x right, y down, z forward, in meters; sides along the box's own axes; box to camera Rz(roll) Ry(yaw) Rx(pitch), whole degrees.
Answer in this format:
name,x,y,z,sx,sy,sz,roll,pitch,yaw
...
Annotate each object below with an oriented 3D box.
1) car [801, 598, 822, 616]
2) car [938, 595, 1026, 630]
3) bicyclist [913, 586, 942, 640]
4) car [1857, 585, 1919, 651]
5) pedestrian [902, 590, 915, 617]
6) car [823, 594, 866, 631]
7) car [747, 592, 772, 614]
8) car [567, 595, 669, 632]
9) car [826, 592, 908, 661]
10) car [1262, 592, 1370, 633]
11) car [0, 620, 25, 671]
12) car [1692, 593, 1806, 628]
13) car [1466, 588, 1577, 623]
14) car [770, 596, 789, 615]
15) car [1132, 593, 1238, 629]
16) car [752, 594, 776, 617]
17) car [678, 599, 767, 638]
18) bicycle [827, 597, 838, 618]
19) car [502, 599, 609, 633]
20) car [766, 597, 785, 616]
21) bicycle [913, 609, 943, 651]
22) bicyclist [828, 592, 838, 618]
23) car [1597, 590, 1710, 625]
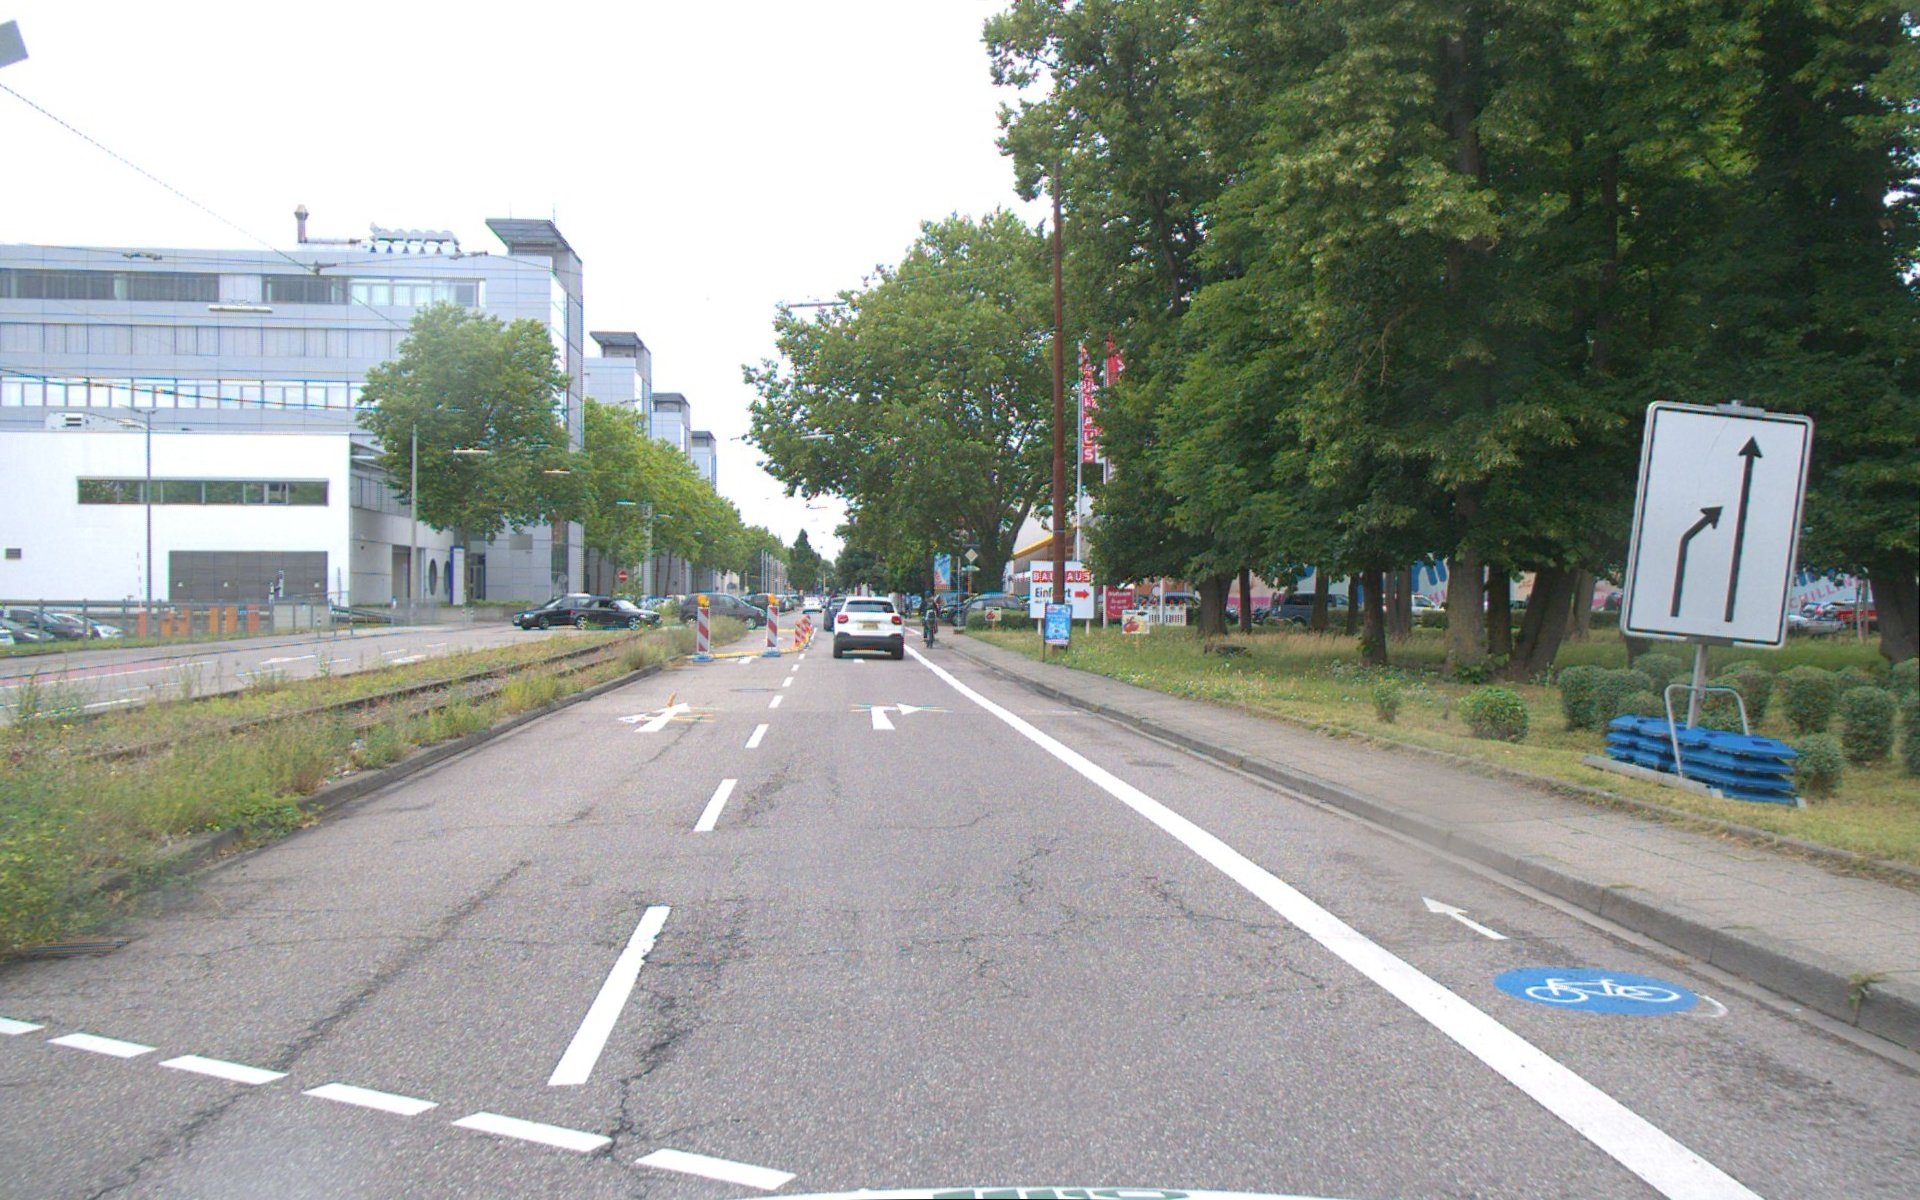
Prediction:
name,x,y,z,sx,sy,sz,roll,pitch,yaw
car,-13.775,0.632,153.145,1.761,1.540,3.700,1,0,-7
car,1.088,0.602,82.175,4.229,1.706,1.991,0,0,-4
bicyclist,-1.017,0.397,51.502,0.800,1.659,1.234,0,0,-5
car,24.299,0.486,39.851,4.447,1.523,1.956,2,-1,-9
pedestrian,-3.325,0.195,107.061,0.746,1.734,0.680,-1,0,-10
car,-5.136,0.534,73.131,1.652,1.540,3.700,1,0,-7
car,-15.537,0.254,128.537,1.841,1.661,3.995,-1,0,-6
car,-15.091,0.609,73.112,4.030,1.501,1.826,-2,-2,18
car,-2.396,0.635,41.892,1.789,1.628,3.770,1,0,-7
car,16.453,0.577,76.577,4.464,1.821,2.071,0,1,-5
car,-34.270,1.537,55.691,4.441,1.662,1.910,0,0,-7
car,37.465,0.497,78.561,4.464,1.599,2.071,0,0,-5
car,26.116,0.254,77.025,4.464,1.599,2.071,0,0,-5
car,-18.337,0.544,167.836,1.841,1.794,3.995,-1,0,-6
car,10.223,0.502,75.341,4.464,1.599,1.991,0,0,-5
car,-15.927,0.408,134.336,1.841,1.794,3.995,-1,0,-6
car,-10.599,0.832,74.006,3.807,1.583,1.823,2,-1,-5
bicycle,-9.138,0.523,118.586,0.658,1.418,2.163,1,0,-7
car,-18.302,0.710,74.925,4.372,1.498,1.804,0,0,-33
car,-18.107,0.600,162.627,1.841,1.794,3.995,-1,0,-6
bicycle,-1.011,0.918,51.501,0.800,1.234,2.681,0,0,-4
bicyclist,-9.125,0.324,118.528,0.658,1.847,0.758,1,0,-8
car,32.536,0.361,77.701,4.464,1.599,2.071,0,0,-5
